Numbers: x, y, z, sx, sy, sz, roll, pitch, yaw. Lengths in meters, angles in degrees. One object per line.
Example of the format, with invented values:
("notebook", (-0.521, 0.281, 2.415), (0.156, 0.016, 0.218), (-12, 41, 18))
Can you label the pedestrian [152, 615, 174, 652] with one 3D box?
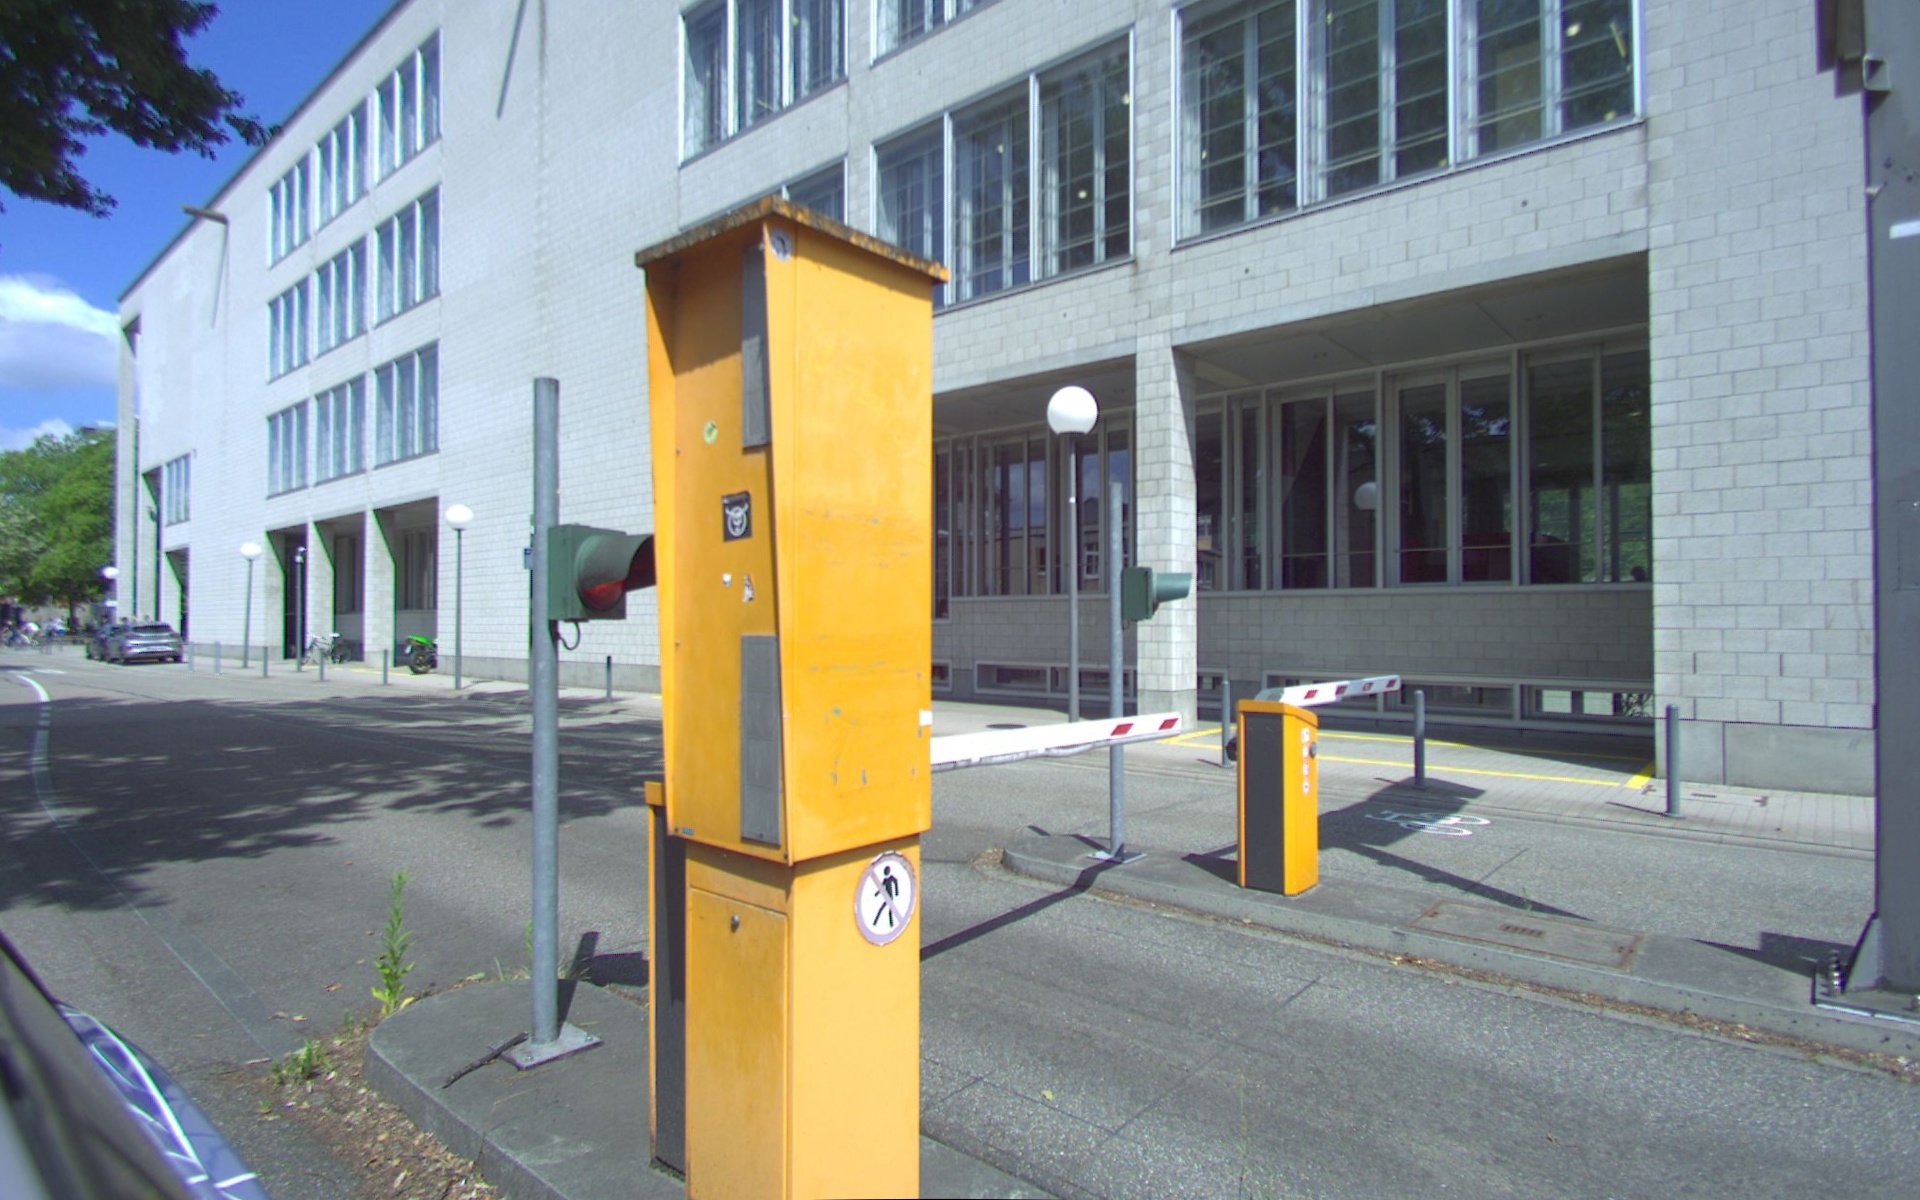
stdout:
("pedestrian", (-44.657, 1.886, 56.707), (1.080, 2.029, 0.745), (-2, -1, 41))

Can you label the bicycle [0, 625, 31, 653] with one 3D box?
("bicycle", (-53.621, 2.194, 56.825), (2.030, 1.505, 0.799), (0, -1, -6))

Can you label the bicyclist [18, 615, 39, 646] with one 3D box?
("bicyclist", (-53.962, 1.757, 58.635), (0.685, 1.778, 0.611), (0, -1, -16))

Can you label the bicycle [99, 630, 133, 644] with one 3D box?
("bicycle", (-66.439, 2.904, 79.719), (0.676, 1.066, 2.117), (-1, -1, 11))

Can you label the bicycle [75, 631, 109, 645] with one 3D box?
("bicycle", (-68.818, 3.018, 80.291), (0.616, 1.066, 2.117), (-1, -1, 11))

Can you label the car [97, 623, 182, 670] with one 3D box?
("car", (-30.066, 1.650, 37.024), (4.404, 1.546, 1.708), (0, 1, 41))

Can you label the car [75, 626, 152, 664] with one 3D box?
("car", (-34.313, 1.785, 40.991), (4.663, 1.434, 1.708), (-1, -2, 41))

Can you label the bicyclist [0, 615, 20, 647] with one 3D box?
("bicyclist", (-53.511, 1.754, 56.841), (0.721, 1.790, 0.763), (0, -1, -7))

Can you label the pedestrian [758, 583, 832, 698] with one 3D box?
("pedestrian", (-3.023, 0.737, 18.508), (1.065, 2.029, 0.839), (-1, -2, 39))

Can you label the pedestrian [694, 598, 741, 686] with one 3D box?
("pedestrian", (-5.336, 0.913, 22.249), (0.719, 1.895, 0.723), (-1, -1, 41))

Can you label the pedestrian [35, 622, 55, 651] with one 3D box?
("pedestrian", (-55.199, 2.193, 61.068), (0.749, 1.738, 1.237), (-2, 1, -38))

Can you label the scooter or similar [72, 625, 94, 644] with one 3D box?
("scooter or similar", (-56.522, 2.201, 65.254), (0.702, 1.200, 1.620), (0, 0, -27))

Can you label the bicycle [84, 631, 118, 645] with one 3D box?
("bicycle", (-68.091, 2.985, 80.215), (0.676, 1.066, 2.117), (-1, -1, 11))

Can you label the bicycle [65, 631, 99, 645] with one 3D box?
("bicycle", (-70.109, 3.058, 80.801), (0.616, 1.066, 2.117), (-1, -1, 11))

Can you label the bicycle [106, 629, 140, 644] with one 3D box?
("bicycle", (-65.694, 2.846, 79.482), (0.676, 1.115, 2.117), (-1, -1, 11))

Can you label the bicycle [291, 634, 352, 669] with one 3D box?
("bicycle", (-21.138, 1.699, 33.522), (0.607, 1.095, 1.624), (-1, -1, 35))

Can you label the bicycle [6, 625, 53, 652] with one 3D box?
("bicycle", (-53.915, 2.219, 58.644), (1.903, 1.505, 0.641), (0, -1, -16))

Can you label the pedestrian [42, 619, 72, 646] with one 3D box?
("pedestrian", (-62.351, 2.246, 69.865), (1.368, 1.838, 1.382), (-2, -1, 40))

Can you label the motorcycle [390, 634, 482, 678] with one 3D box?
("motorcycle", (-14.218, 1.497, 27.530), (0.772, 1.146, 2.150), (-1, -2, 31))

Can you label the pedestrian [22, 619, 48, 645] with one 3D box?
("pedestrian", (-74.644, 2.580, 81.665), (1.368, 2.029, 1.382), (-2, -1, 40))
